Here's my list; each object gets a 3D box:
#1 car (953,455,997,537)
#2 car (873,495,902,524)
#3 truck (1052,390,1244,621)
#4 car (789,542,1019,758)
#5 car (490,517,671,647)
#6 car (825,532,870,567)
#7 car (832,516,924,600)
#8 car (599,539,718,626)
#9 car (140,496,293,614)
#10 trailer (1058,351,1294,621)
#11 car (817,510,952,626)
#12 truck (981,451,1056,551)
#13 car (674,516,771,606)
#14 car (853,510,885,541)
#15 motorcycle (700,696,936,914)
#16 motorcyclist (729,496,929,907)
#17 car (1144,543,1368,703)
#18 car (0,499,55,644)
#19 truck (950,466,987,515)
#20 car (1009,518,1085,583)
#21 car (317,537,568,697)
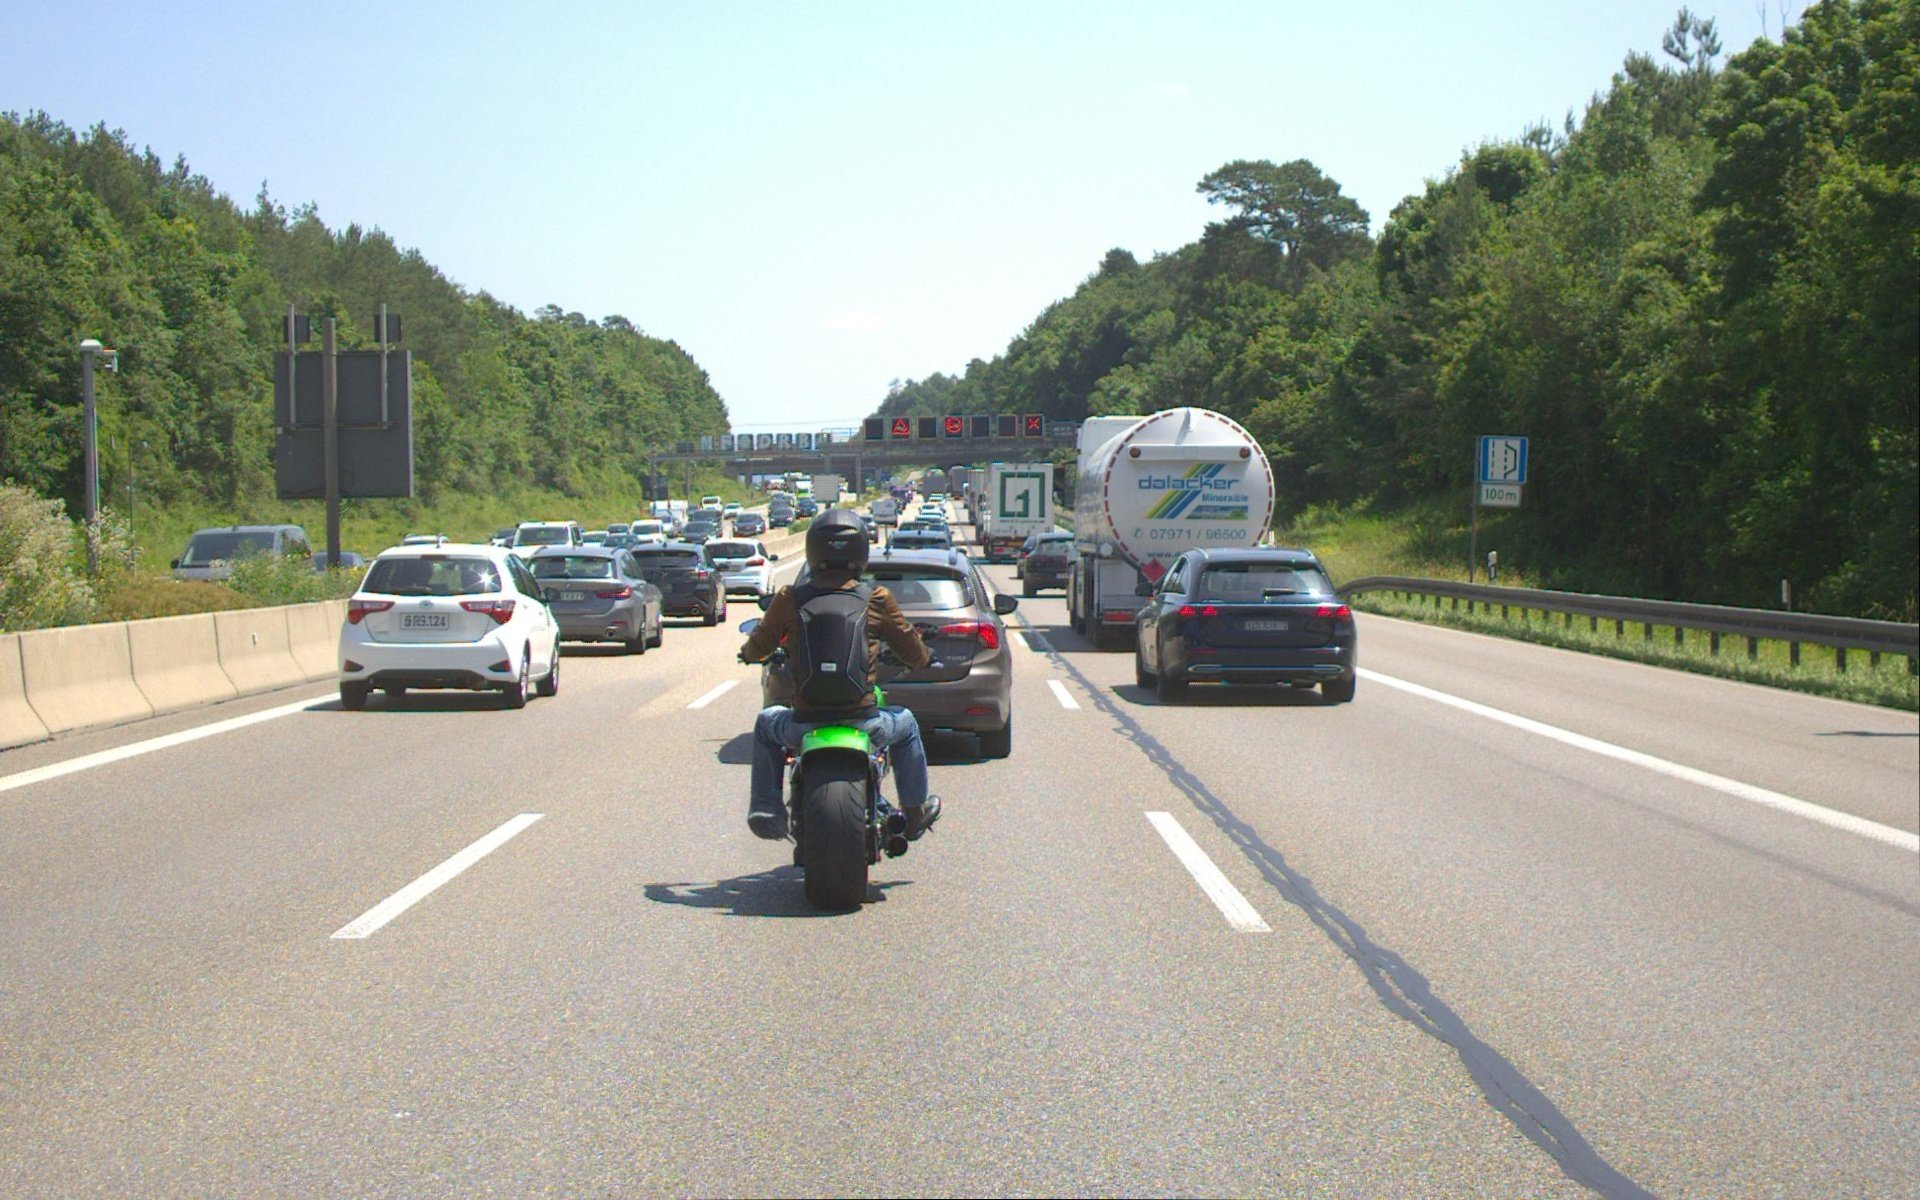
[{"bbox_3d":[0.733,-5.350,178.556,2.167,3.879,9.330,1,0,0],"label":"car"},{"bbox_3d":[-5.159,-6.460,246.521,1.993,2.007,4.000,-1,0,0],"label":"car"},{"bbox_3d":[3.082,-1.489,58.022,2.828,3.659,6.429,1,0,0],"label":"truck"},{"bbox_3d":[-0.389,0.319,25.265,1.541,1.445,4.000,1,0,0],"label":"car"},{"bbox_3d":[-5.113,-0.219,46.824,1.993,1.678,4.330,1,0,0],"label":"car"},{"bbox_3d":[-4.720,-2.116,144.731,1.764,1.437,4.000,0,1,0],"label":"car"},{"bbox_3d":[-1.822,-0.918,76.978,1.993,1.769,4.000,1,0,-1],"label":"car"},{"bbox_3d":[-5.260,-0.281,60.386,1.993,1.459,4.000,1,0,-4],"label":"car"},{"bbox_3d":[-13.117,-0.805,60.868,1.993,2.007,4.001,0,1,-2],"label":"car"},{"bbox_3d":[3.112,-1.528,52.369,2.828,3.659,10.732,1,0,0],"label":"trailer"},{"bbox_3d":[-1.158,-0.464,52.977,1.993,1.705,4.000,1,0,-1],"label":"car"},{"bbox_3d":[2.438,-3.997,140.940,2.854,3.808,7.187,1,0,2],"label":"truck"},{"bbox_3d":[-5.467,-0.879,79.571,1.993,2.007,4.000,1,0,-1],"label":"car"},{"bbox_3d":[-4.984,-4.095,188.947,1.660,1.594,4.000,0,0,0],"label":"car"},{"bbox_3d":[-0.579,0.857,14.960,0.936,0.790,2.299,1,0,0],"label":"motorcycle"},{"bbox_3d":[-0.542,0.419,14.647,0.799,1.682,1.016,1,-1,0],"label":"motorcyclist"},{"bbox_3d":[2.858,0.226,34.071,1.792,1.453,4.624,1,0,0],"label":"car"},{"bbox_3d":[-14.211,-0.411,48.041,1.993,2.007,4.272,0,1,0],"label":"car"},{"bbox_3d":[0.602,-8.253,259.182,2.696,3.394,10.478,-1,0,0],"label":"truck"},{"bbox_3d":[2.158,-1.221,86.314,1.776,1.522,4.000,1,0,0],"label":"car"},{"bbox_3d":[-4.824,0.129,32.514,1.776,1.406,4.000,1,1,0],"label":"car"}]
